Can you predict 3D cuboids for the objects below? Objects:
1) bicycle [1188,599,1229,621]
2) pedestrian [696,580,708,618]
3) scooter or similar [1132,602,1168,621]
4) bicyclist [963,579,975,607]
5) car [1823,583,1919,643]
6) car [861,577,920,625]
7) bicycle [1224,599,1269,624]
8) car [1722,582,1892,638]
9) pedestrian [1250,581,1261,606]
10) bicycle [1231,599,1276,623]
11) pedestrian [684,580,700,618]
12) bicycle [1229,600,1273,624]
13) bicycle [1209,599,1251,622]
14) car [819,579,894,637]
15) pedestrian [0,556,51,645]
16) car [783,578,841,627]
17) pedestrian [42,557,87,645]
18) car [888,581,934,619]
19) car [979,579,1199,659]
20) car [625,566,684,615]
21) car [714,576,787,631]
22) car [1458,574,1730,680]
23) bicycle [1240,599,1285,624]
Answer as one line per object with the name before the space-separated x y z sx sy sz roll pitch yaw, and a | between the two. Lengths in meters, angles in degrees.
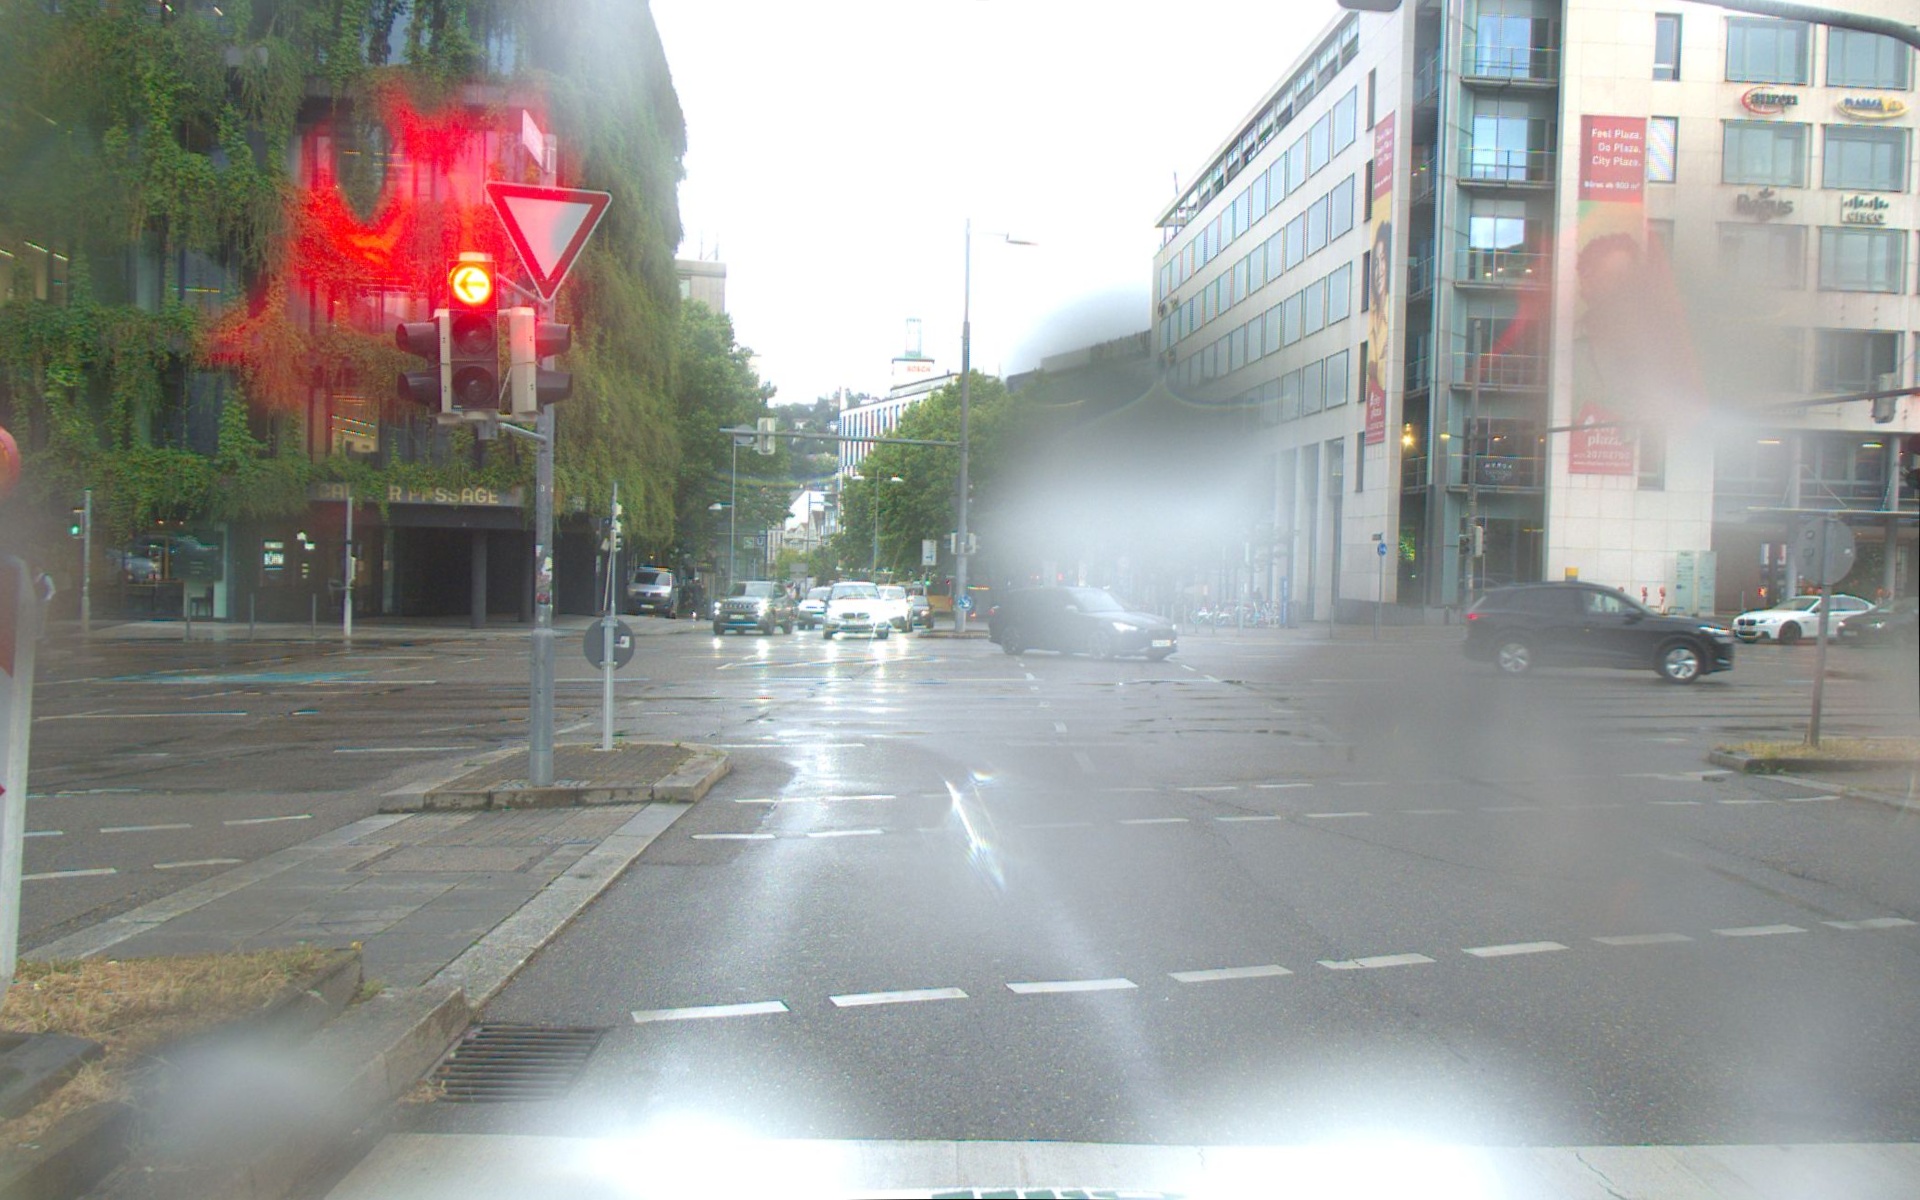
bicycle | 10.962 0.453 72.908 1.757 0.950 0.475 1 0 2
pedestrian | -10.659 -0.034 68.432 0.428 1.550 0.547 1 0 -5
scooter or similar | 9.196 0.552 80.003 1.720 0.894 0.486 0 0 -20
bicyclist | 0.643 -0.508 117.157 0.775 2.009 1.113 1 0 -3
car | 26.781 0.349 46.332 4.373 1.626 1.994 1 0 -13
car | -2.422 0.014 58.459 1.953 1.556 4.555 0 2 -1
bicycle | 11.149 0.433 64.382 1.767 0.950 0.473 1 0 41
car | 25.391 0.299 49.614 4.378 1.626 1.992 0 0 -16
pedestrian | 14.089 -0.324 78.827 0.351 1.194 0.408 0 0 -42
bicycle | 11.722 0.434 65.999 1.767 0.950 0.473 1 0 41
pedestrian | -11.066 -0.059 68.322 0.595 1.550 0.587 1 0 -5
bicycle | 11.747 0.472 66.744 1.767 0.950 0.473 1 0 41
bicycle | 11.606 0.460 71.070 1.757 0.950 0.475 1 0 2
car | -2.871 0.188 46.657 1.953 1.468 4.555 0 2 -2
pedestrian | -19.167 0.003 33.806 0.923 1.788 1.163 0 0 -24
car | -5.899 0.094 65.526 2.133 1.855 4.637 1 0 -7
pedestrian | -18.488 0.014 34.164 0.731 1.788 0.969 0 0 -24
car | -2.176 -0.038 72.640 1.953 1.556 4.554 0 2 -2
car | 2.541 0.333 33.498 1.844 1.473 4.556 0 1 -39
car | -12.527 -0.389 68.115 1.955 1.928 4.460 1 0 -5
car | -6.419 0.090 51.164 1.954 1.626 4.462 1 0 -4
car | 10.893 0.422 28.696 4.259 1.684 1.971 1 2 18
bicycle | 11.896 0.435 65.035 1.767 0.950 0.473 1 0 41
